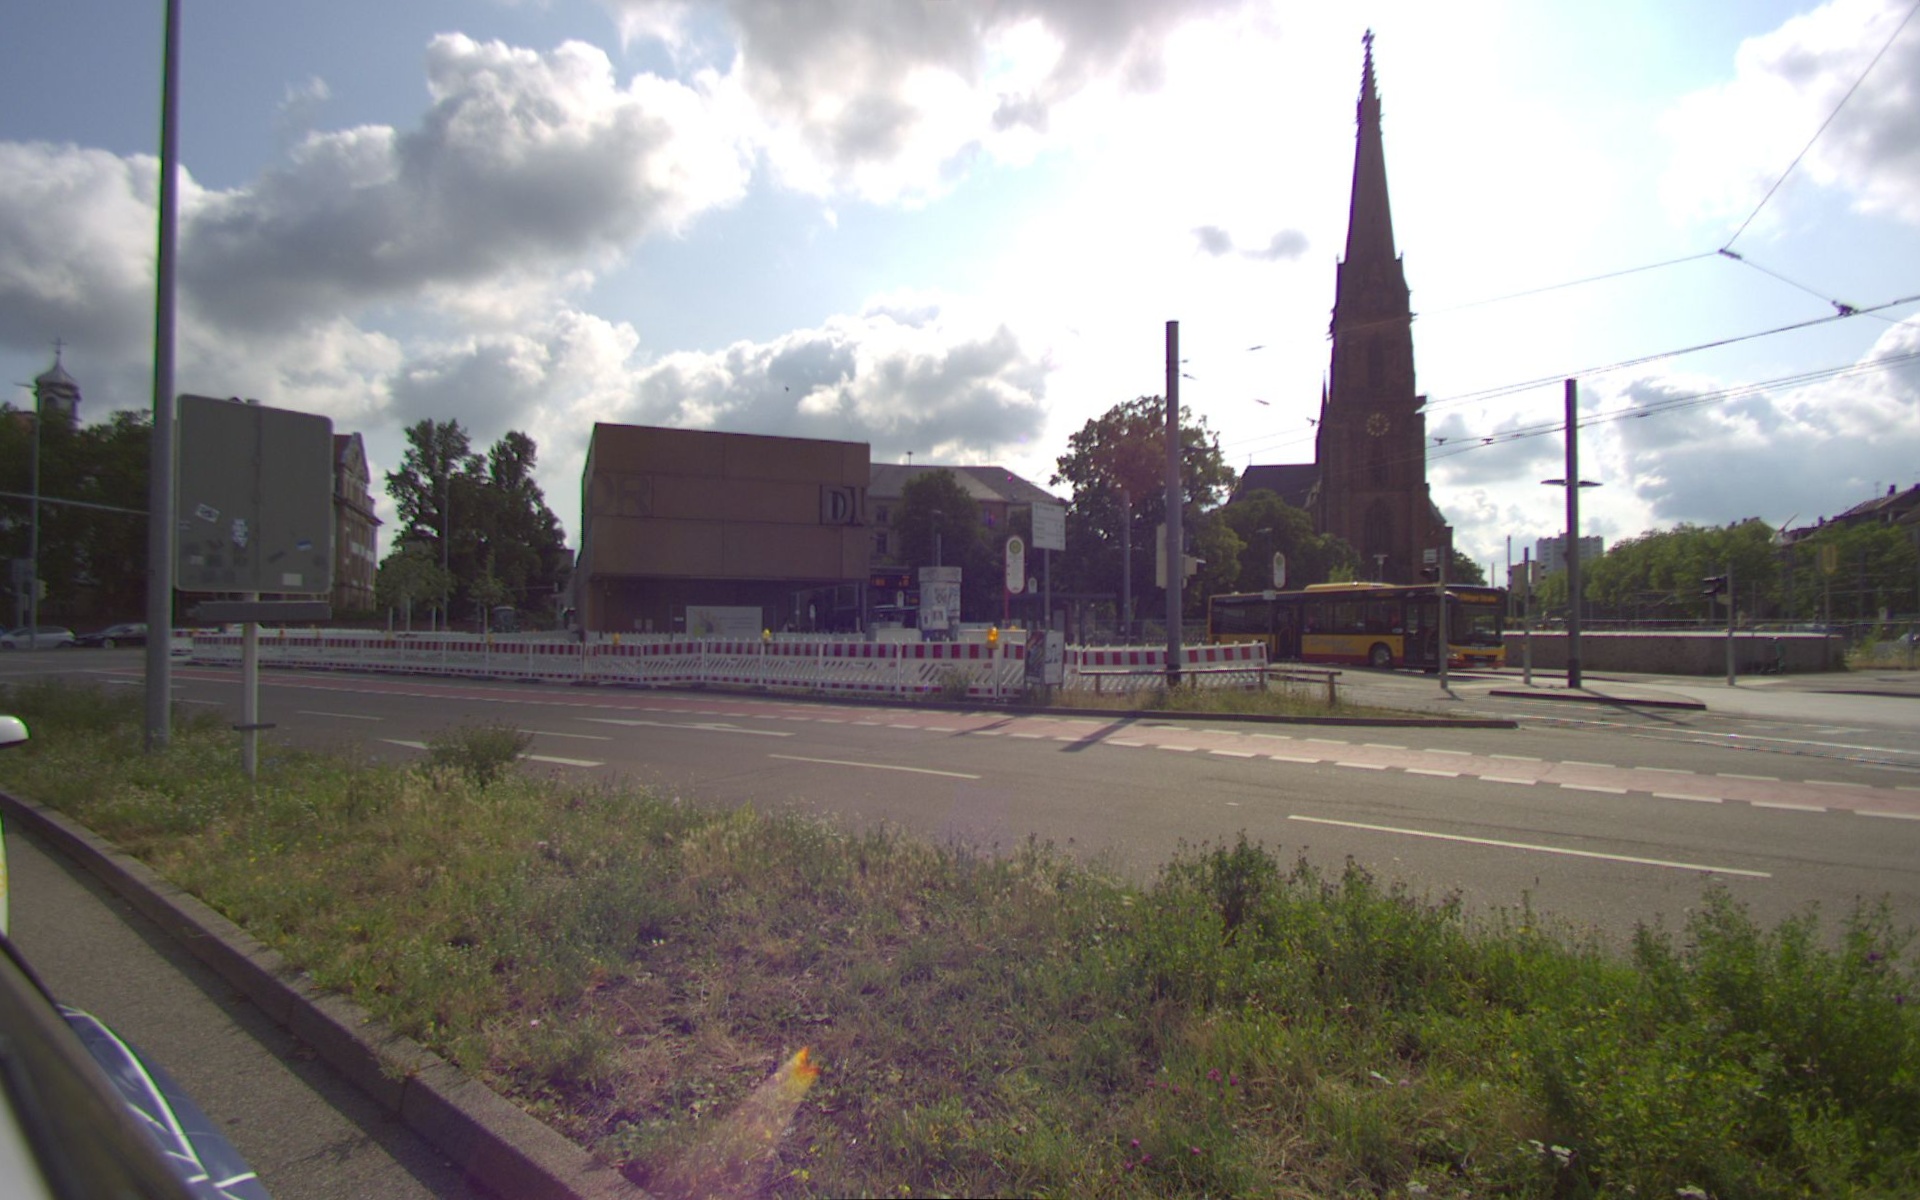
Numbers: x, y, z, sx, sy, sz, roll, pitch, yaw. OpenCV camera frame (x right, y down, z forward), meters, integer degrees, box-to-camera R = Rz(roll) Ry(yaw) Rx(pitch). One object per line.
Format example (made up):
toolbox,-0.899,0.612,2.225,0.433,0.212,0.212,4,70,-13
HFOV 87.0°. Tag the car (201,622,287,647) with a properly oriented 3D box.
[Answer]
car,-42.476,2.050,60.136,1.741,1.401,4.115,0,-2,11

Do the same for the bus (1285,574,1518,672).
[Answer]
bus,14.242,0.793,33.384,2.653,2.855,7.123,1,-2,-23

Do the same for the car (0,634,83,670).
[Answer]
car,-49.796,2.740,53.845,1.990,1.696,4.304,-1,0,27

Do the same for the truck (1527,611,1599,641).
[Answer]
truck,76.605,3.320,128.643,7.390,3.676,2.456,-1,-2,19

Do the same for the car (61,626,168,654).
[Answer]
car,-43.962,2.071,52.740,1.741,1.401,4.115,0,-2,11

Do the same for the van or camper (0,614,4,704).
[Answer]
van or camper,-5.400,0.783,4.335,4.000,1.487,1.605,-1,-3,43

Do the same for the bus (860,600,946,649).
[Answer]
bus,-4.655,1.951,78.587,2.913,3.534,12.293,1,-2,-22

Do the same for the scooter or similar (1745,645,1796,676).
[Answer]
scooter or similar,25.795,1.920,32.220,1.635,0.957,0.475,1,-2,-20

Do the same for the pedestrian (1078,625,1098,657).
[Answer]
pedestrian,6.429,2.062,50.900,0.654,1.617,0.740,2,-2,-42

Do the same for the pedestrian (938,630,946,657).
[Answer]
pedestrian,-1.118,2.634,61.352,0.352,1.614,0.365,1,-1,-28

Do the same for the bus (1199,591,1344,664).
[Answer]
bus,11.870,1.071,39.023,2.654,2.607,5.094,1,-2,-23
